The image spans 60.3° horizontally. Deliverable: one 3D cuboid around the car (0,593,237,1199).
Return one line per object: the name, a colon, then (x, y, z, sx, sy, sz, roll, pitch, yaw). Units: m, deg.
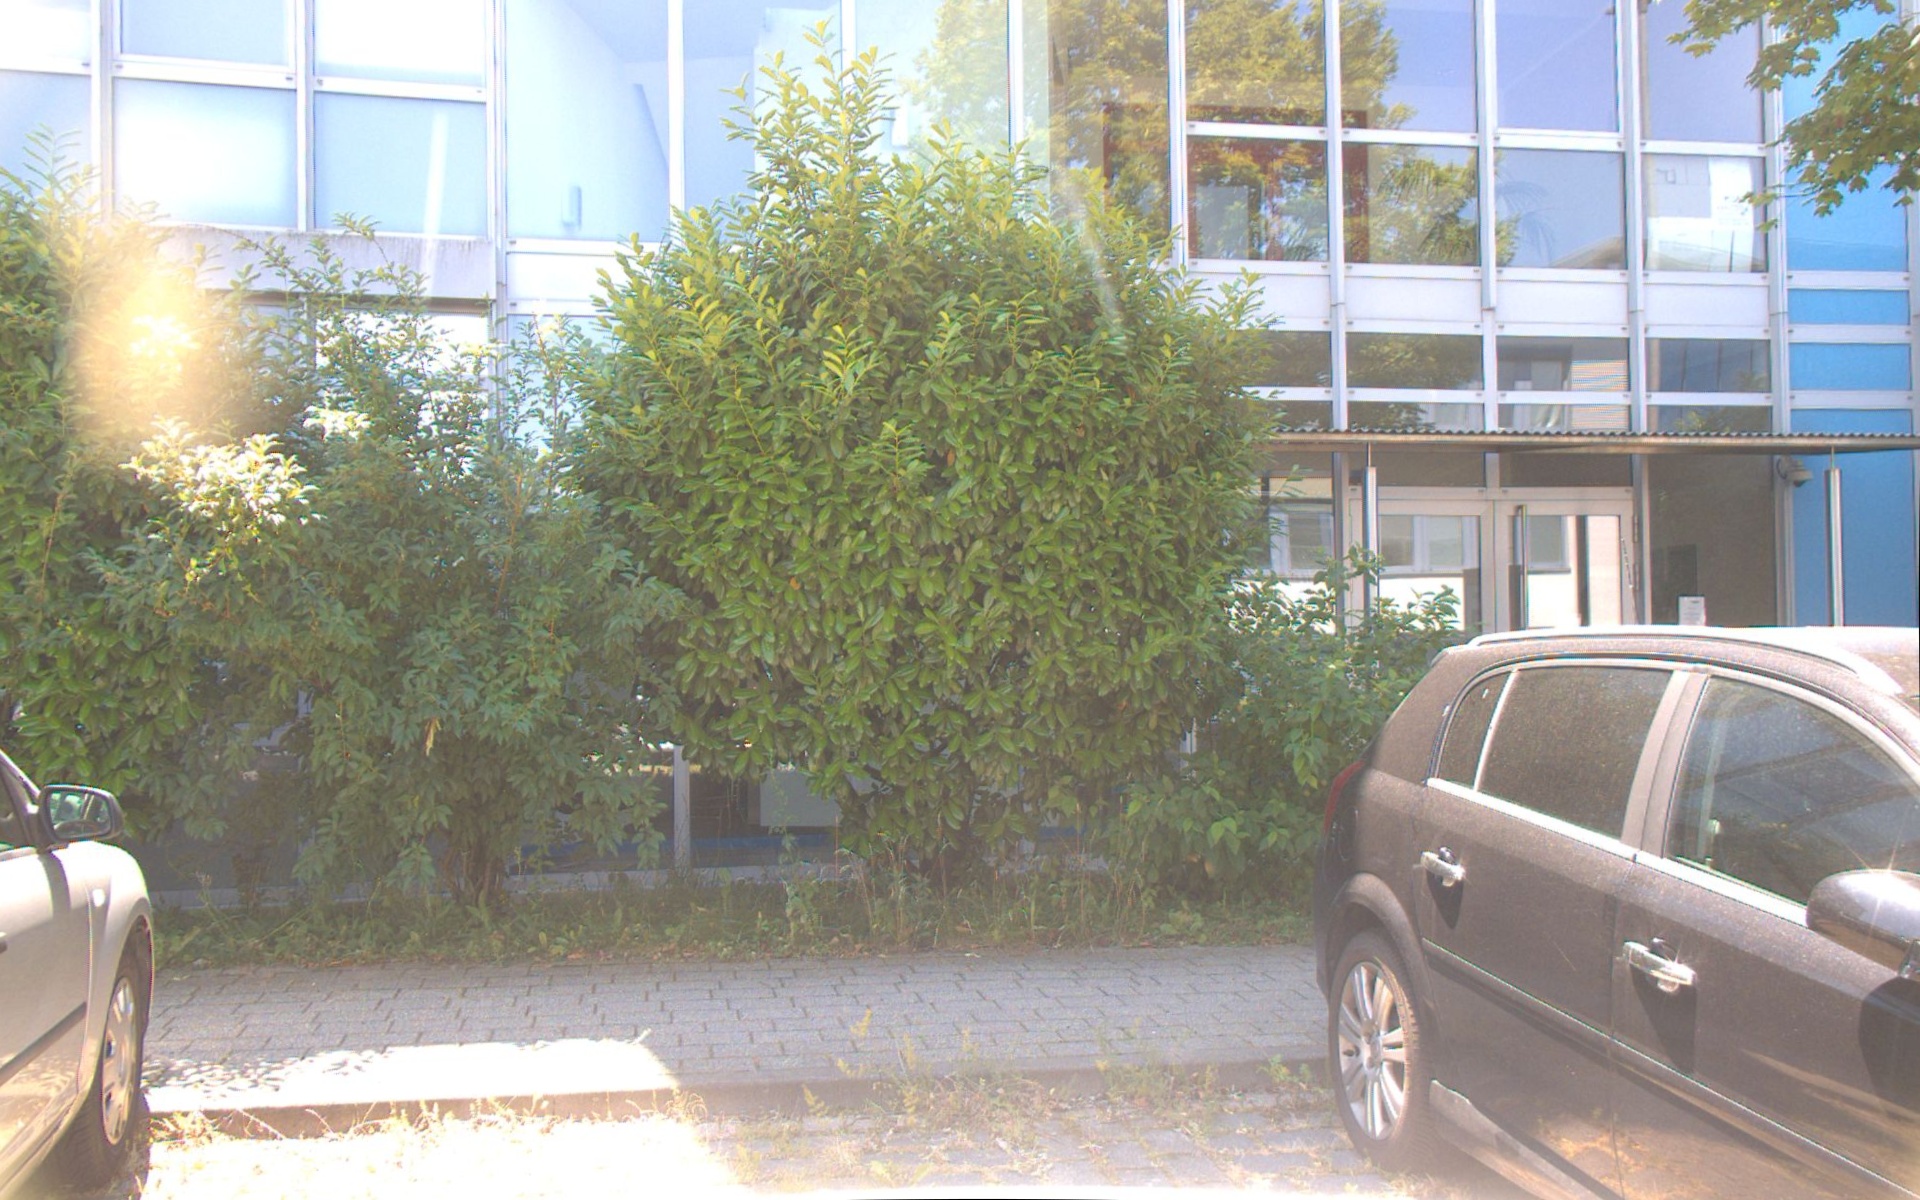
car: (-2.558, 0.729, 2.725, 1.689, 1.505, 4.334, 1, -1, -13)

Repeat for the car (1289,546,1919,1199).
car: (2.232, 0.724, 3.186, 1.725, 1.576, 4.556, 1, -1, -8)
